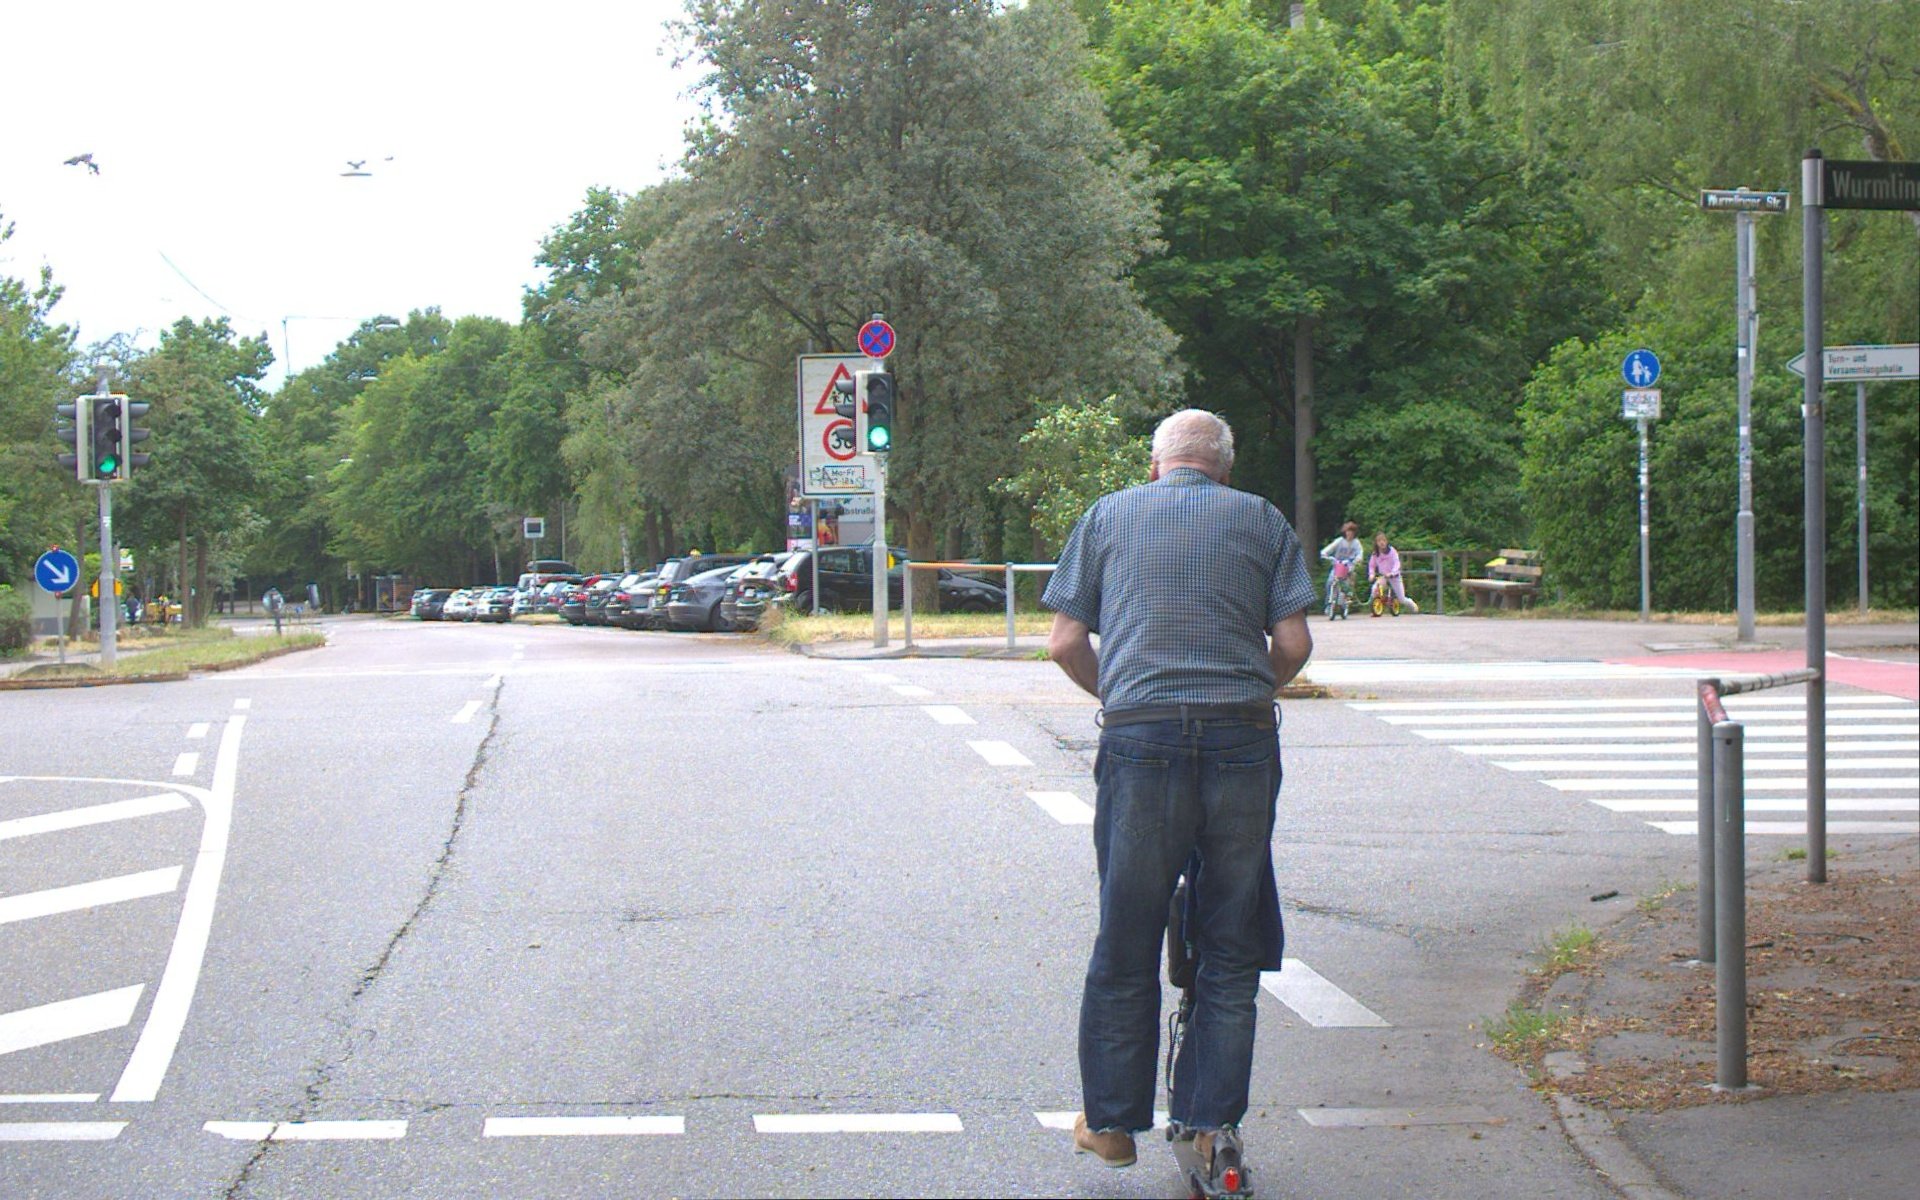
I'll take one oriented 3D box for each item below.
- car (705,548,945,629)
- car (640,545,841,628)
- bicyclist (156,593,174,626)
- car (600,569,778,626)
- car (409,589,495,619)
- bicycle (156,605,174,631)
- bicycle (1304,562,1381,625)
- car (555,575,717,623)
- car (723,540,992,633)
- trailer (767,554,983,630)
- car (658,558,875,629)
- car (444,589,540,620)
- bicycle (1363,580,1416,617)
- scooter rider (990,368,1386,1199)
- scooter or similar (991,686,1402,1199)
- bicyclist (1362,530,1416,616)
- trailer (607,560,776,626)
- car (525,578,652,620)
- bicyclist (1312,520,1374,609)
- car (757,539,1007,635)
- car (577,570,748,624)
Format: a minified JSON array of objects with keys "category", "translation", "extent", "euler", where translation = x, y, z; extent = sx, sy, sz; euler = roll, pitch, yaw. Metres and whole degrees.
[{"category":"car","translation":[-2.547,-0.217,64.712],"extent":[4.218,1.459,1.635],"euler":[-1,0,-19]},{"category":"car","translation":[-4.738,-0.290,74.026],"extent":[3.985,1.719,1.681],"euler":[-1,-1,-19]},{"category":"bicyclist","translation":[-40.480,0.475,175.018],"extent":[0.844,1.692,0.714],"euler":[-1,1,-12]},{"category":"car","translation":[-6.595,-0.067,83.704],"extent":[4.036,1.323,1.560],"euler":[-1,-1,-19]},{"category":"car","translation":[-25.378,0.199,171.811],"extent":[3.884,1.424,1.744],"euler":[-1,0,-30]},{"category":"bicycle","translation":[-40.462,0.909,174.985],"extent":[0.844,1.262,2.652],"euler":[-1,1,-11]},{"category":"bicycle","translation":[5.166,-0.096,46.504],"extent":[0.639,0.756,1.681],"euler":[-1,3,-8]},{"category":"car","translation":[-9.362,-0.022,99.243],"extent":[4.311,1.336,1.734],"euler":[-1,0,-24]},{"category":"car","translation":[-1.695,-0.227,56.860],"extent":[4.134,1.471,1.577],"euler":[-1,0,-21]},{"category":"trailer","translation":[-1.491,-0.138,59.925],"extent":[3.401,1.262,1.617],"euler":[-1,-1,-19]},{"category":"car","translation":[-4.016,-0.128,71.308],"extent":[4.158,1.402,1.698],"euler":[-1,-1,-21]},{"category":"car","translation":[-20.944,0.192,153.948],"extent":[3.885,1.305,1.743],"euler":[-1,0,-34]},{"category":"bicycle","translation":[6.056,-0.015,48.507],"extent":[0.518,0.496,0.988],"euler":[-1,-1,-6]},{"category":"scooter rider","translation":[0.467,0.378,7.518],"extent":[0.681,1.724,1.197],"euler":[-1,2,-5]},{"category":"scooter or similar","translation":[0.481,0.805,7.564],"extent":[0.681,1.135,1.460],"euler":[-1,2,-5]},{"category":"bicyclist","translation":[6.053,-0.371,48.521],"extent":[0.518,1.183,0.967],"euler":[-1,-1,-6]},{"category":"trailer","translation":[-6.362,-0.163,81.453],"extent":[3.687,1.530,1.646],"euler":[0,0,-21]},{"category":"car","translation":[-12.643,-0.031,116.998],"extent":[3.964,1.401,1.757],"euler":[0,0,-25]},{"category":"bicyclist","translation":[5.168,-0.486,46.461],"extent":[0.639,1.158,0.804],"euler":[-1,2,-8]},{"category":"car","translation":[-1.251,-0.214,54.431],"extent":[3.714,1.471,1.577],"euler":[-1,1,-12]},{"category":"car","translation":[-8.117,-0.092,93.918],"extent":[4.343,1.440,1.634],"euler":[-1,0,-24]}]
